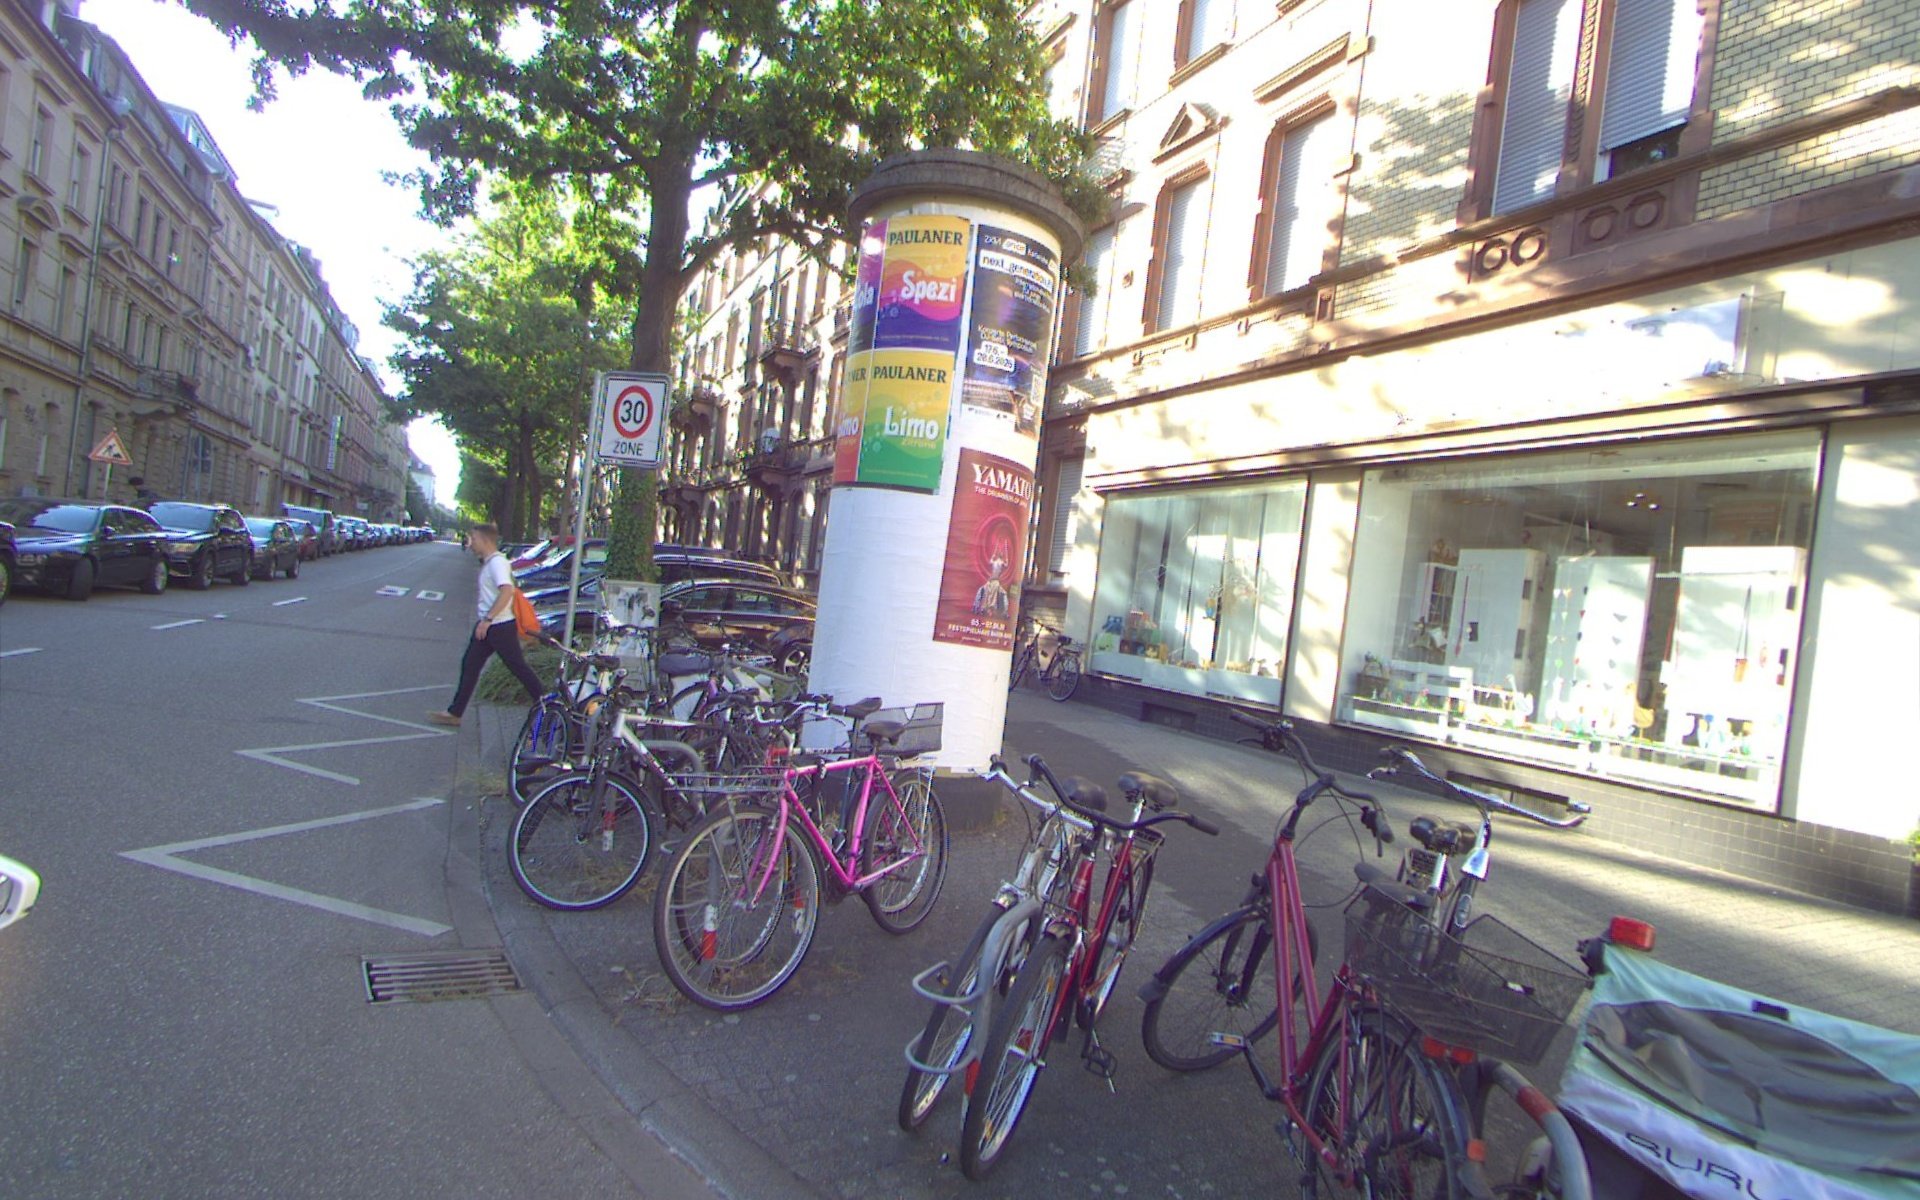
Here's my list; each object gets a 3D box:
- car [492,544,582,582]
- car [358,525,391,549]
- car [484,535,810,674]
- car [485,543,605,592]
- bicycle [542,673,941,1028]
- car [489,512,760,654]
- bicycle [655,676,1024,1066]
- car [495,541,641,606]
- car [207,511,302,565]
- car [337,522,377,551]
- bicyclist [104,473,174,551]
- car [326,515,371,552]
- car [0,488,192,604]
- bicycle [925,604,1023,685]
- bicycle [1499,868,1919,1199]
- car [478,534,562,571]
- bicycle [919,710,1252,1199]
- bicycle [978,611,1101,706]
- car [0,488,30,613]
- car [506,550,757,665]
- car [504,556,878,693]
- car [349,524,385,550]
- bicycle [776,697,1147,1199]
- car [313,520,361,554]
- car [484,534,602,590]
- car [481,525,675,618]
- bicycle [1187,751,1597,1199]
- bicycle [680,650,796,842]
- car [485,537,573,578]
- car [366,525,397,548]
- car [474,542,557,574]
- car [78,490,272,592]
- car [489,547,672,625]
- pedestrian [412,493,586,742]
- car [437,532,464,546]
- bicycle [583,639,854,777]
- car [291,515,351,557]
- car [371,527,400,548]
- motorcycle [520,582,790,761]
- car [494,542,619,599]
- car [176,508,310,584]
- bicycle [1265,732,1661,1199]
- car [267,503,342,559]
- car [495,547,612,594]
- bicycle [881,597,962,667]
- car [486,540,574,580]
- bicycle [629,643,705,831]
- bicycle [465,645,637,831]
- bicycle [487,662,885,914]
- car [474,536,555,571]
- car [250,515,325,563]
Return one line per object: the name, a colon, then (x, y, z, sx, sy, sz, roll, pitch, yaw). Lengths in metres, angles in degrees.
car: (-20.968, -1.841, 49.897, 3.973, 1.486, 1.722, 5, 1, -27)
car: (-42.267, -4.548, 72.730, 1.743, 1.491, 4.030, 6, 1, -27)
car: (-4.947, 0.093, 16.180, 4.636, 1.700, 1.842, 6, 1, -21)
car: (-16.796, -1.309, 40.746, 4.303, 1.577, 1.836, 4, 3, -27)
bicycle: (-0.784, 0.899, 4.288, 0.494, 1.065, 1.933, 5, 1, 27)
car: (-6.989, -0.301, 21.057, 4.979, 2.242, 1.979, 7, 0, -28)
bicycle: (-0.351, 0.916, 4.081, 0.417, 1.108, 1.933, 5, 1, 27)
car: (-12.495, -0.829, 32.161, 4.143, 1.649, 1.827, 5, 1, -23)
car: (-23.621, -2.061, 33.837, 1.741, 1.520, 4.036, 6, 1, -24)
car: (-37.641, -3.976, 62.870, 1.743, 1.491, 4.030, 6, 1, -27)
bicyclist: (-21.433, -2.263, 26.288, 0.986, 1.810, 1.201, 6, -2, -25)
car: (-35.481, -3.846, 58.477, 1.743, 1.865, 4.497, 6, 1, -27)
car: (-13.749, -0.845, 15.468, 1.739, 1.470, 4.529, 6, 0, -20)
bicycle: (0.196, 0.747, 17.842, 0.663, 1.186, 2.578, 4, 1, -23)
bicycle: (1.585, 1.192, 1.980, 0.728, 1.039, 0.994, 7, 0, 42)
car: (-29.505, -3.200, 67.437, 5.009, 1.951, 1.822, 5, 2, -27)
bicycle: (0.527, 0.996, 3.211, 0.417, 1.108, 1.933, 5, 1, 25)
bicycle: (1.158, 0.850, 15.416, 0.663, 1.186, 2.578, 4, 1, -23)
car: (-11.855, -0.625, 10.455, 1.740, 1.506, 4.117, 6, 0, -22)
car: (-6.002, 0.144, 18.413, 4.069, 1.553, 1.714, 7, 0, -26)
car: (-3.732, 0.354, 14.120, 4.737, 1.431, 1.840, 6, 0, -24)
car: (-40.247, -4.315, 68.332, 1.743, 1.491, 4.030, 6, 1, -27)
bicycle: (0.149, 0.959, 3.402, 0.417, 1.108, 1.933, 5, 1, 25)
car: (-33.454, -3.400, 54.109, 1.745, 1.484, 3.971, 9, -1, -27)
car: (-17.831, -1.621, 43.055, 4.404, 1.951, 1.835, 4, 3, -29)
car: (-10.444, -0.755, 27.592, 4.635, 2.059, 1.865, 5, 1, -30)
bicycle: (0.949, 1.065, 2.576, 0.417, 1.108, 1.477, 4, 1, 4)
bicycle: (-1.428, 0.852, 6.306, 0.350, 0.939, 1.516, 4, 1, -24)
car: (-23.339, -2.288, 54.502, 4.182, 1.800, 1.822, 5, 2, -28)
car: (-44.992, -4.934, 78.290, 1.743, 1.491, 4.030, 6, 1, -27)
car: (-25.971, -2.438, 58.832, 4.187, 1.422, 1.820, 5, 2, -31)
car: (-15.519, -1.149, 20.187, 1.740, 1.620, 4.526, 6, 1, -22)
car: (-9.444, -0.343, 25.061, 4.016, 1.530, 1.866, 5, 1, -27)
pedestrian: (-3.908, 0.156, 8.533, 1.105, 1.922, 0.837, 7, 1, -28)
car: (-92.975, -11.161, 183.661, 3.943, 1.882, 1.744, 8, 0, -19)
bicycle: (-1.784, 0.821, 7.588, 1.912, 0.939, 0.352, 4, 1, -27)
car: (-30.552, -3.048, 48.180, 1.739, 1.627, 4.355, 9, -1, -26)
car: (-47.086, -5.130, 82.533, 1.743, 1.491, 4.030, 6, 1, -27)
motorcycle: (-2.387, 0.573, 7.920, 1.879, 1.250, 0.681, 5, 2, -26)
car: (-14.626, -1.065, 36.479, 3.974, 1.649, 1.792, 5, 1, -28)
car: (-17.652, -1.323, 24.976, 1.740, 1.520, 4.037, 6, 1, -23)
bicycle: (1.466, 1.096, 3.237, 0.563, 1.108, 1.477, 4, 1, 6)
car: (-27.868, -2.918, 42.933, 1.817, 1.966, 5.225, 9, 0, -26)
car: (-15.640, -1.120, 38.697, 3.972, 1.453, 1.782, 4, 1, -27)
bicycle: (-0.809, 0.608, 20.178, 0.663, 1.186, 2.578, 4, 1, -23)
car: (-22.145, -2.052, 51.814, 3.973, 1.628, 1.722, 5, 1, -27)
bicycle: (-1.870, 0.801, 6.336, 0.349, 0.939, 1.519, 4, 1, -18)
bicycle: (-2.484, 0.792, 6.251, 0.348, 0.939, 1.413, 4, 1, 4)
bicycle: (-1.267, 0.837, 5.049, 0.490, 1.001, 1.925, 5, 1, 41)
car: (-28.272, -2.938, 63.917, 1.811, 1.818, 4.208, 7, 2, 44)
car: (-25.344, -2.283, 38.042, 1.578, 1.492, 3.677, 9, -1, -24)
